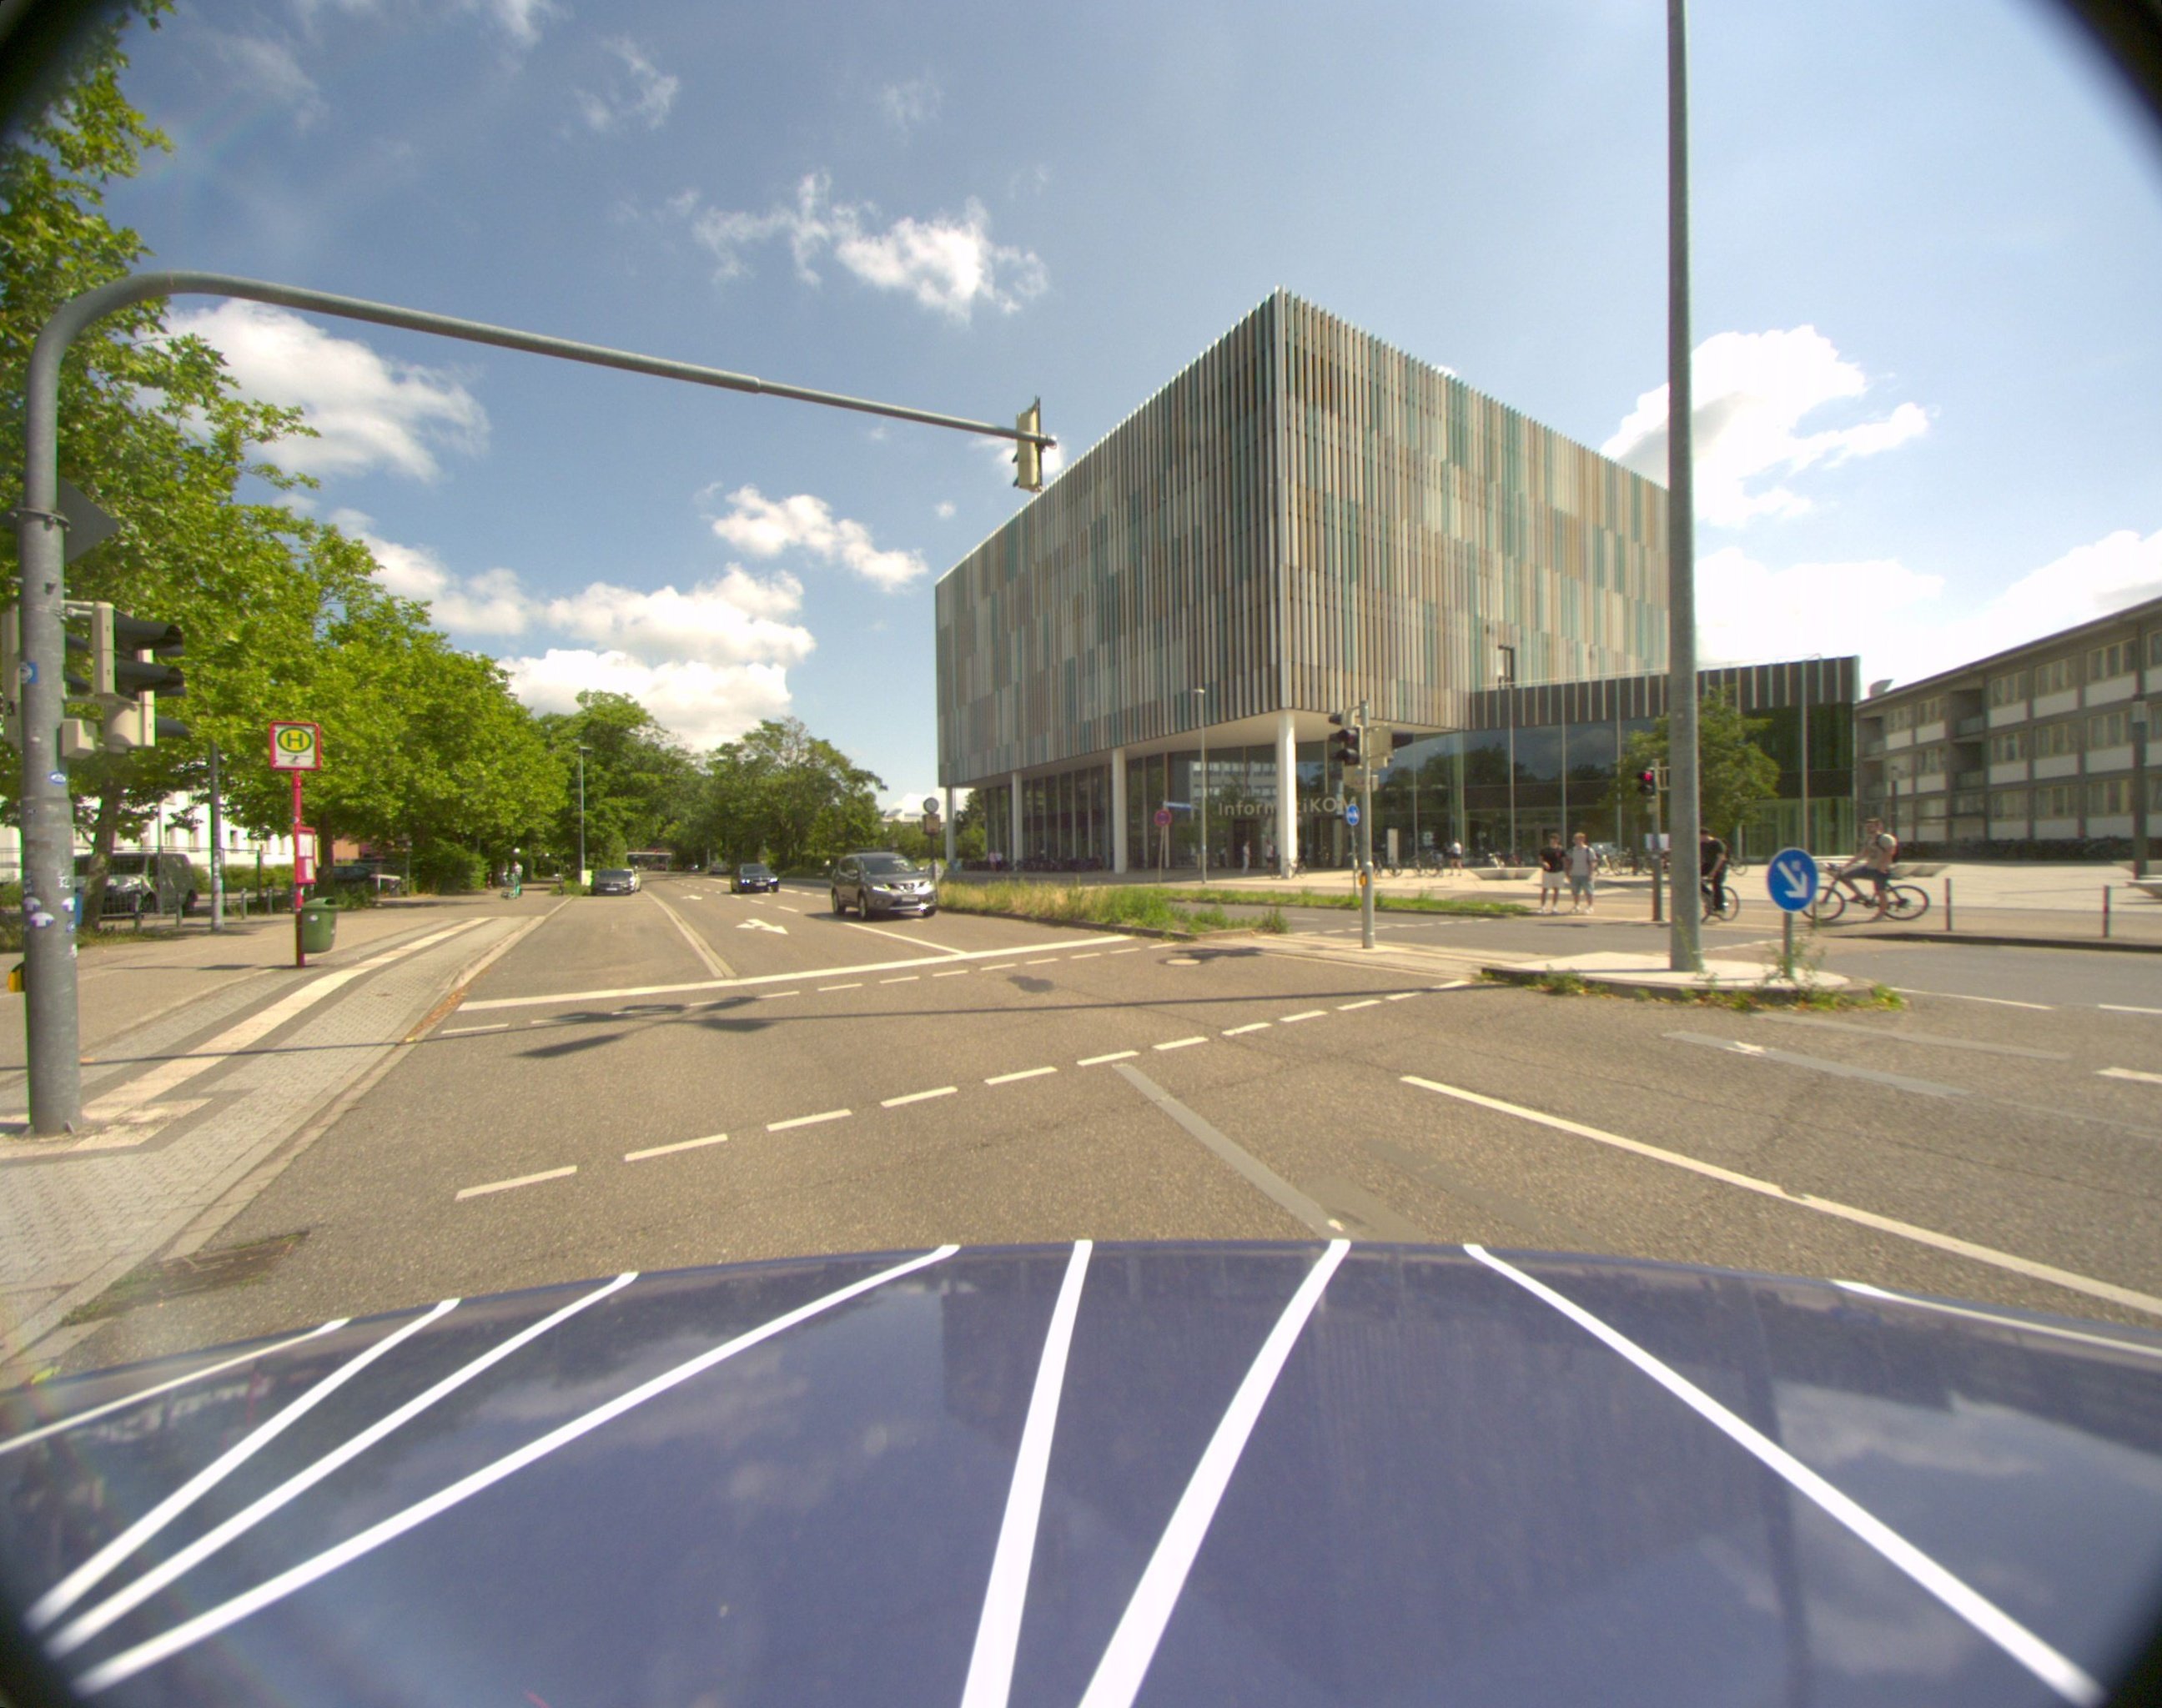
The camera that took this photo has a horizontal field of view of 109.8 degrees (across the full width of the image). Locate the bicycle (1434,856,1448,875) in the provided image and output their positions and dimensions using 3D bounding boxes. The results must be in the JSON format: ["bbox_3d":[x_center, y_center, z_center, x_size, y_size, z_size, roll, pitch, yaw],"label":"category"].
[{"bbox_3d":[16.170,0.517,34.148,0.528,0.759,1.776,-1,1,27],"label":"bicycle"}]

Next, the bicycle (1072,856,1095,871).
[{"bbox_3d":[0.189,0.686,53.634,1.547,0.950,0.373,-3,2,-17],"label":"bicycle"}]

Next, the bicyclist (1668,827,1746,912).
[{"bbox_3d":[12.231,0.300,14.879,0.997,1.606,0.658,-1,1,20],"label":"bicyclist"}]

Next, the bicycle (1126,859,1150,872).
[{"bbox_3d":[3.666,0.720,48.934,1.548,0.771,0.373,-3,2,-28],"label":"bicycle"}]

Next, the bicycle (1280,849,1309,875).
[{"bbox_3d":[10.246,0.371,36.480,1.549,1.180,0.372,-4,3,-33],"label":"bicycle"}]

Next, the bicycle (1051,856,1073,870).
[{"bbox_3d":[-1.385,0.637,55.520,1.547,0.950,0.373,-3,2,-17],"label":"bicycle"}]

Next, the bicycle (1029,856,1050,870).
[{"bbox_3d":[-3.200,0.694,58.880,1.547,0.950,0.373,-3,2,-17],"label":"bicycle"}]

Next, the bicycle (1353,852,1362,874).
[{"bbox_3d":[12.959,0.416,35.598,0.373,0.950,1.548,-1,1,20],"label":"bicycle"}]

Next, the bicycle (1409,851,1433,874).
[{"bbox_3d":[15.480,0.378,34.582,0.527,0.950,1.777,-1,2,39],"label":"bicycle"}]

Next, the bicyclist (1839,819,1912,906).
[{"bbox_3d":[14.374,0.154,13.769,0.784,1.529,0.658,-1,1,34],"label":"bicyclist"}]

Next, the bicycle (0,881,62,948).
[{"bbox_3d":[-20.268,1.154,13.971,0.800,1.176,2.027,-3,1,-21],"label":"bicycle"}]

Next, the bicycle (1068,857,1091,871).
[{"bbox_3d":[-0.107,0.695,54.252,1.547,0.950,0.373,-3,2,-17],"label":"bicycle"}]

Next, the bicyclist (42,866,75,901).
[{"bbox_3d":[-40.368,1.156,30.008,0.609,1.313,0.740,0,0,-39],"label":"bicyclist"}]

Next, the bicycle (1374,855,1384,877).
[{"bbox_3d":[13.904,0.562,35.450,0.373,0.950,1.776,-1,1,20],"label":"bicycle"}]

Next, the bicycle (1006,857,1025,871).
[{"bbox_3d":[-5.232,0.794,60.502,1.549,0.950,0.372,-4,2,-42],"label":"bicycle"}]

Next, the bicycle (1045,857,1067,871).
[{"bbox_3d":[-1.822,0.715,56.052,1.547,0.950,0.373,-3,2,-17],"label":"bicycle"}]

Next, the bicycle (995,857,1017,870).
[{"bbox_3d":[-6.356,0.795,64.344,1.788,0.950,0.432,-3,2,-32],"label":"bicycle"}]

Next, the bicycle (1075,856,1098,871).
[{"bbox_3d":[0.370,0.632,53.078,1.547,0.950,0.373,-3,2,-17],"label":"bicycle"}]

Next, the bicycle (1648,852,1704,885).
[{"bbox_3d":[18.685,0.436,23.905,0.528,0.950,1.774,-2,1,7],"label":"bicycle"}]

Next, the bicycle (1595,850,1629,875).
[{"bbox_3d":[22.389,0.345,32.055,0.528,0.950,1.775,-1,1,13],"label":"bicycle"}]

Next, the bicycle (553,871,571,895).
[{"bbox_3d":[-26.133,1.461,38.292,0.641,1.183,2.114,0,-1,-32],"label":"bicycle"}]

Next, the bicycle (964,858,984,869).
[{"bbox_3d":[-9.841,0.869,69.977,1.788,0.950,0.432,-3,2,-32],"label":"bicycle"}]

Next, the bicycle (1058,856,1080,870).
[{"bbox_3d":[-0.878,0.659,55.170,1.547,0.950,0.373,-3,2,-17],"label":"bicycle"}]

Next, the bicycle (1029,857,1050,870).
[{"bbox_3d":[-3.249,0.714,59.304,1.547,0.950,0.373,-3,2,-17],"label":"bicycle"}]

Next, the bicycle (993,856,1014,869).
[{"bbox_3d":[-6.655,0.734,65.487,1.788,0.950,0.432,-3,2,-32],"label":"bicycle"}]

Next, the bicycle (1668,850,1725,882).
[{"bbox_3d":[19.273,0.353,23.833,0.528,0.950,1.774,-2,1,7],"label":"bicycle"}]

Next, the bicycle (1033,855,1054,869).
[{"bbox_3d":[-2.857,0.599,58.343,1.547,0.950,0.373,-3,2,-17],"label":"bicycle"}]

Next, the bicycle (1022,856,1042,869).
[{"bbox_3d":[-3.903,0.688,60.334,1.547,0.950,0.373,-3,2,-17],"label":"bicycle"}]

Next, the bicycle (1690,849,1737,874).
[{"bbox_3d":[25.131,0.293,30.229,0.528,0.950,1.774,-2,1,7],"label":"bicycle"}]

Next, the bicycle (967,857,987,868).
[{"bbox_3d":[-9.511,0.772,69.454,1.788,0.950,0.432,-3,2,-32],"label":"bicycle"}]

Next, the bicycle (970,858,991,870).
[{"bbox_3d":[-9.034,0.873,68.414,1.788,0.950,0.432,-3,2,-32],"label":"bicycle"}]

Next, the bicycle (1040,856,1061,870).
[{"bbox_3d":[-2.291,0.681,56.976,1.547,0.950,0.373,-3,2,-17],"label":"bicycle"}]

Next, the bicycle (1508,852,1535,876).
[{"bbox_3d":[19.179,0.420,33.112,0.528,0.950,1.775,-4,1,15],"label":"bicycle"}]

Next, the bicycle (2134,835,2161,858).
[{"bbox_3d":[45.030,-0.321,31.355,1.768,0.950,0.530,-1,3,33],"label":"bicycle"}]

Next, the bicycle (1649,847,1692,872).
[{"bbox_3d":[23.899,0.220,30.843,0.528,0.950,1.774,-2,1,7],"label":"bicycle"}]

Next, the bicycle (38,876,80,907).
[{"bbox_3d":[-40.369,1.467,30.019,0.609,1.131,1.583,0,0,-39],"label":"bicycle"}]

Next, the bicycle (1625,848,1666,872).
[{"bbox_3d":[23.226,0.242,31.313,0.528,0.950,1.774,-2,1,7],"label":"bicycle"}]

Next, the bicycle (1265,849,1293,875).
[{"bbox_3d":[9.651,0.367,37.038,1.549,1.180,0.372,-3,3,-33],"label":"bicycle"}]

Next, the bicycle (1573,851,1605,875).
[{"bbox_3d":[21.742,0.362,32.530,0.528,0.950,1.775,-1,1,13],"label":"bicycle"}]

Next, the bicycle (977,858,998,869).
[{"bbox_3d":[-8.280,0.840,67.269,1.788,0.950,0.432,-3,2,-32],"label":"bicycle"}]

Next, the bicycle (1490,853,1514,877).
[{"bbox_3d":[18.370,0.472,33.169,0.528,0.950,1.775,-1,2,15],"label":"bicycle"}]

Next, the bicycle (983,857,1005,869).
[{"bbox_3d":[-7.611,0.750,66.551,1.788,0.950,0.432,-3,2,-32],"label":"bicycle"}]
